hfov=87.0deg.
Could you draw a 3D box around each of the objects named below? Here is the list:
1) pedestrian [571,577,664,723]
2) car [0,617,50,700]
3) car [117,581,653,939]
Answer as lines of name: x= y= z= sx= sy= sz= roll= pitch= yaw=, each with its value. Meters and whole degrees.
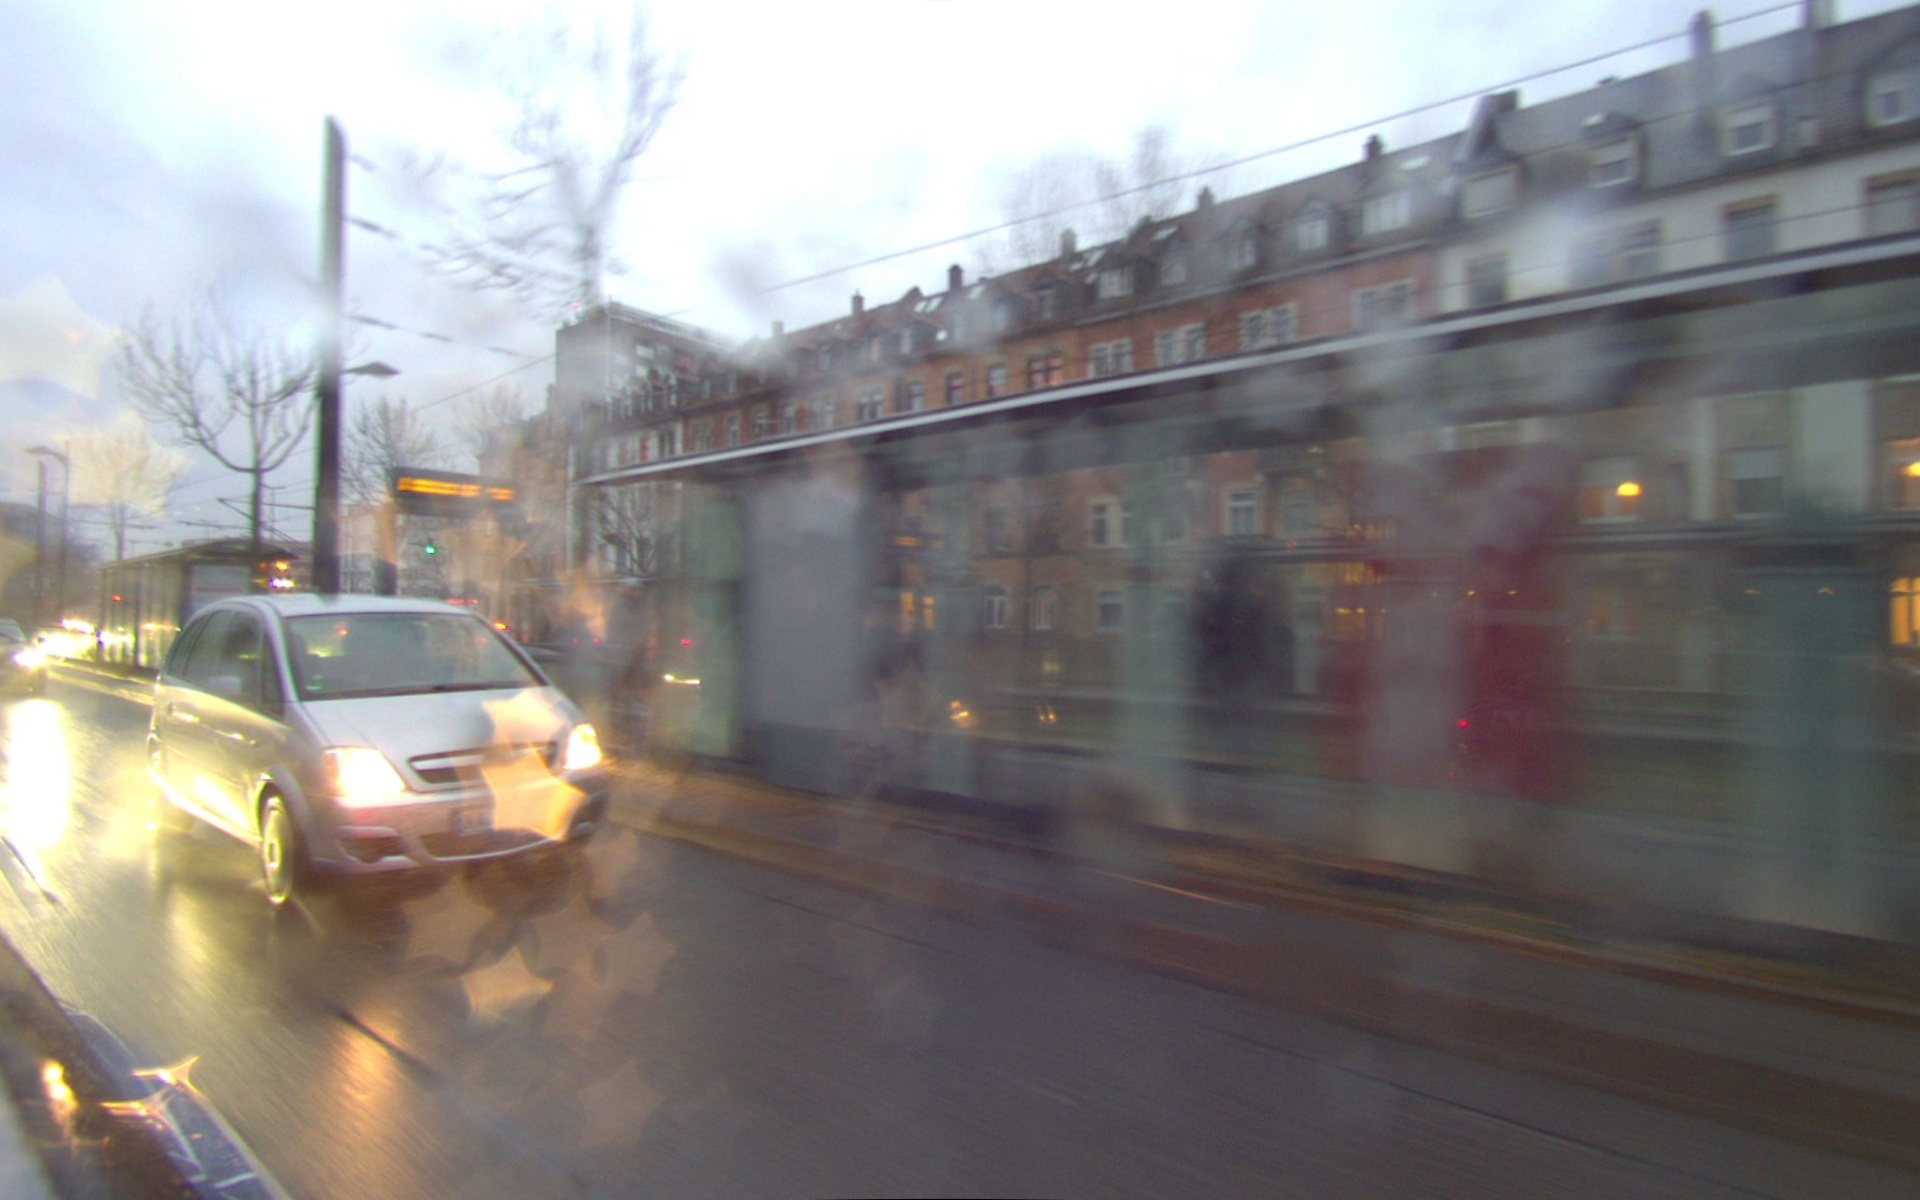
pedestrian: x=-3.985 y=0.574 z=11.793 sx=0.746 sy=1.618 sz=0.703 roll=-1 pitch=-3 yaw=38
car: x=-19.650 y=1.123 z=20.185 sx=3.998 sy=1.556 sz=1.730 roll=-2 pitch=-4 yaw=41
car: x=-3.812 y=0.755 z=6.392 sx=4.106 sy=1.560 sz=1.628 roll=-1 pitch=-2 yaw=40
